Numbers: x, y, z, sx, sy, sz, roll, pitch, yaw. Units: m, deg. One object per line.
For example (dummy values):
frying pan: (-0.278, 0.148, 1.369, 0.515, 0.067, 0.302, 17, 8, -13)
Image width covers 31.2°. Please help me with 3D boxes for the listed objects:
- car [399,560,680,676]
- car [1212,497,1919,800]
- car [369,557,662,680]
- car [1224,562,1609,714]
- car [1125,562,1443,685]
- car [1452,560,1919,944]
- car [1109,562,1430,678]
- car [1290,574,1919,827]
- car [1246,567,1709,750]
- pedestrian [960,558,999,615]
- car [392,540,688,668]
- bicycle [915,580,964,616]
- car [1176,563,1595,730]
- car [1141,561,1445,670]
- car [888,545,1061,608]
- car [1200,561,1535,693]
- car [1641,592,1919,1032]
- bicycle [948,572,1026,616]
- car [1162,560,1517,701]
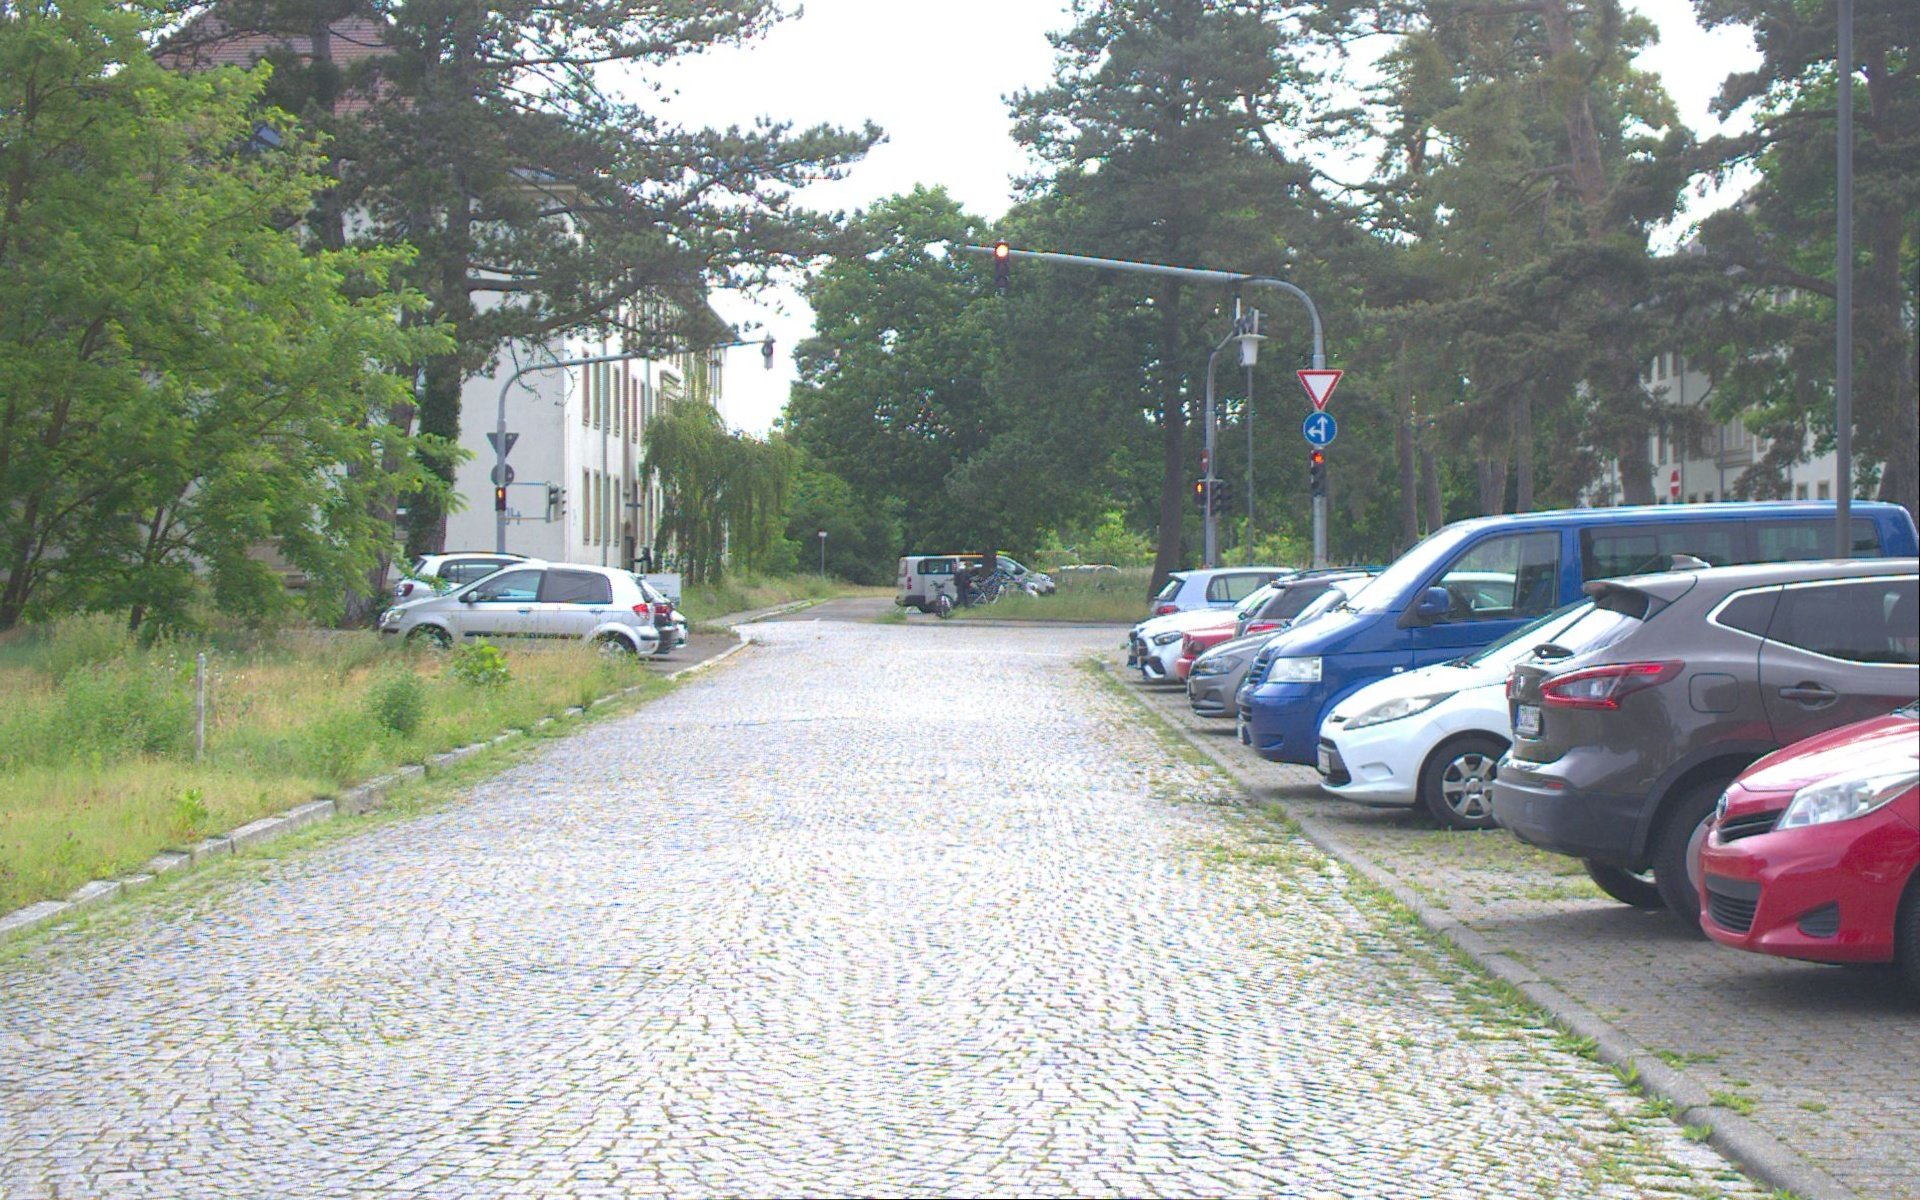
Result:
car: (-5.992, 0.249, 49.278, 3.821, 1.567, 1.564, -1, 0, 0)
car: (4.252, 0.315, 24.079, 4.754, 1.948, 1.931, -1, 0, -2)
car: (-6.026, 0.237, 46.861, 3.821, 1.567, 1.564, -1, 0, -3)
car: (4.628, 0.374, 35.124, 3.671, 1.444, 1.524, -1, 0, -2)
car: (3.970, 0.276, 42.371, 3.671, 1.416, 1.524, -1, 0, -4)
car: (4.340, 0.599, 15.110, 4.028, 1.547, 1.751, -1, 0, -2)
car: (4.046, 0.250, 45.226, 3.967, 1.416, 1.620, -1, 0, -4)
car: (4.015, 0.595, 21.489, 3.671, 1.444, 1.615, -1, 0, -2)
car: (4.371, 0.484, 29.358, 3.671, 1.444, 1.524, -1, 0, -2)
pedestrian: (0.545, -0.384, 97.166, 1.033, 1.608, 0.757, 1, 0, -4)
car: (-6.352, 0.055, 52.266, 4.262, 1.834, 1.744, -1, 0, 0)
bicycle: (-0.548, -0.052, 92.762, 0.620, 0.942, 1.663, 1, 1, -28)
car: (3.937, 0.420, 32.139, 3.671, 1.444, 1.524, -1, 0, -2)
car: (4.608, 0.204, 47.873, 3.967, 1.416, 1.620, -1, 0, -4)
car: (0.455, -0.780, 114.732, 5.444, 2.007, 2.269, 1, 0, -9)
car: (4.721, 0.303, 40.114, 3.671, 1.444, 1.524, -1, 0, -2)
car: (4.551, 0.687, 12.467, 3.792, 1.455, 1.751, -1, 0, 0)
bicycle: (0.745, -0.173, 96.824, 2.136, 1.210, 0.622, 1, 0, -4)
car: (4.139, 0.321, 37.832, 3.671, 1.444, 1.524, -1, 0, -2)
